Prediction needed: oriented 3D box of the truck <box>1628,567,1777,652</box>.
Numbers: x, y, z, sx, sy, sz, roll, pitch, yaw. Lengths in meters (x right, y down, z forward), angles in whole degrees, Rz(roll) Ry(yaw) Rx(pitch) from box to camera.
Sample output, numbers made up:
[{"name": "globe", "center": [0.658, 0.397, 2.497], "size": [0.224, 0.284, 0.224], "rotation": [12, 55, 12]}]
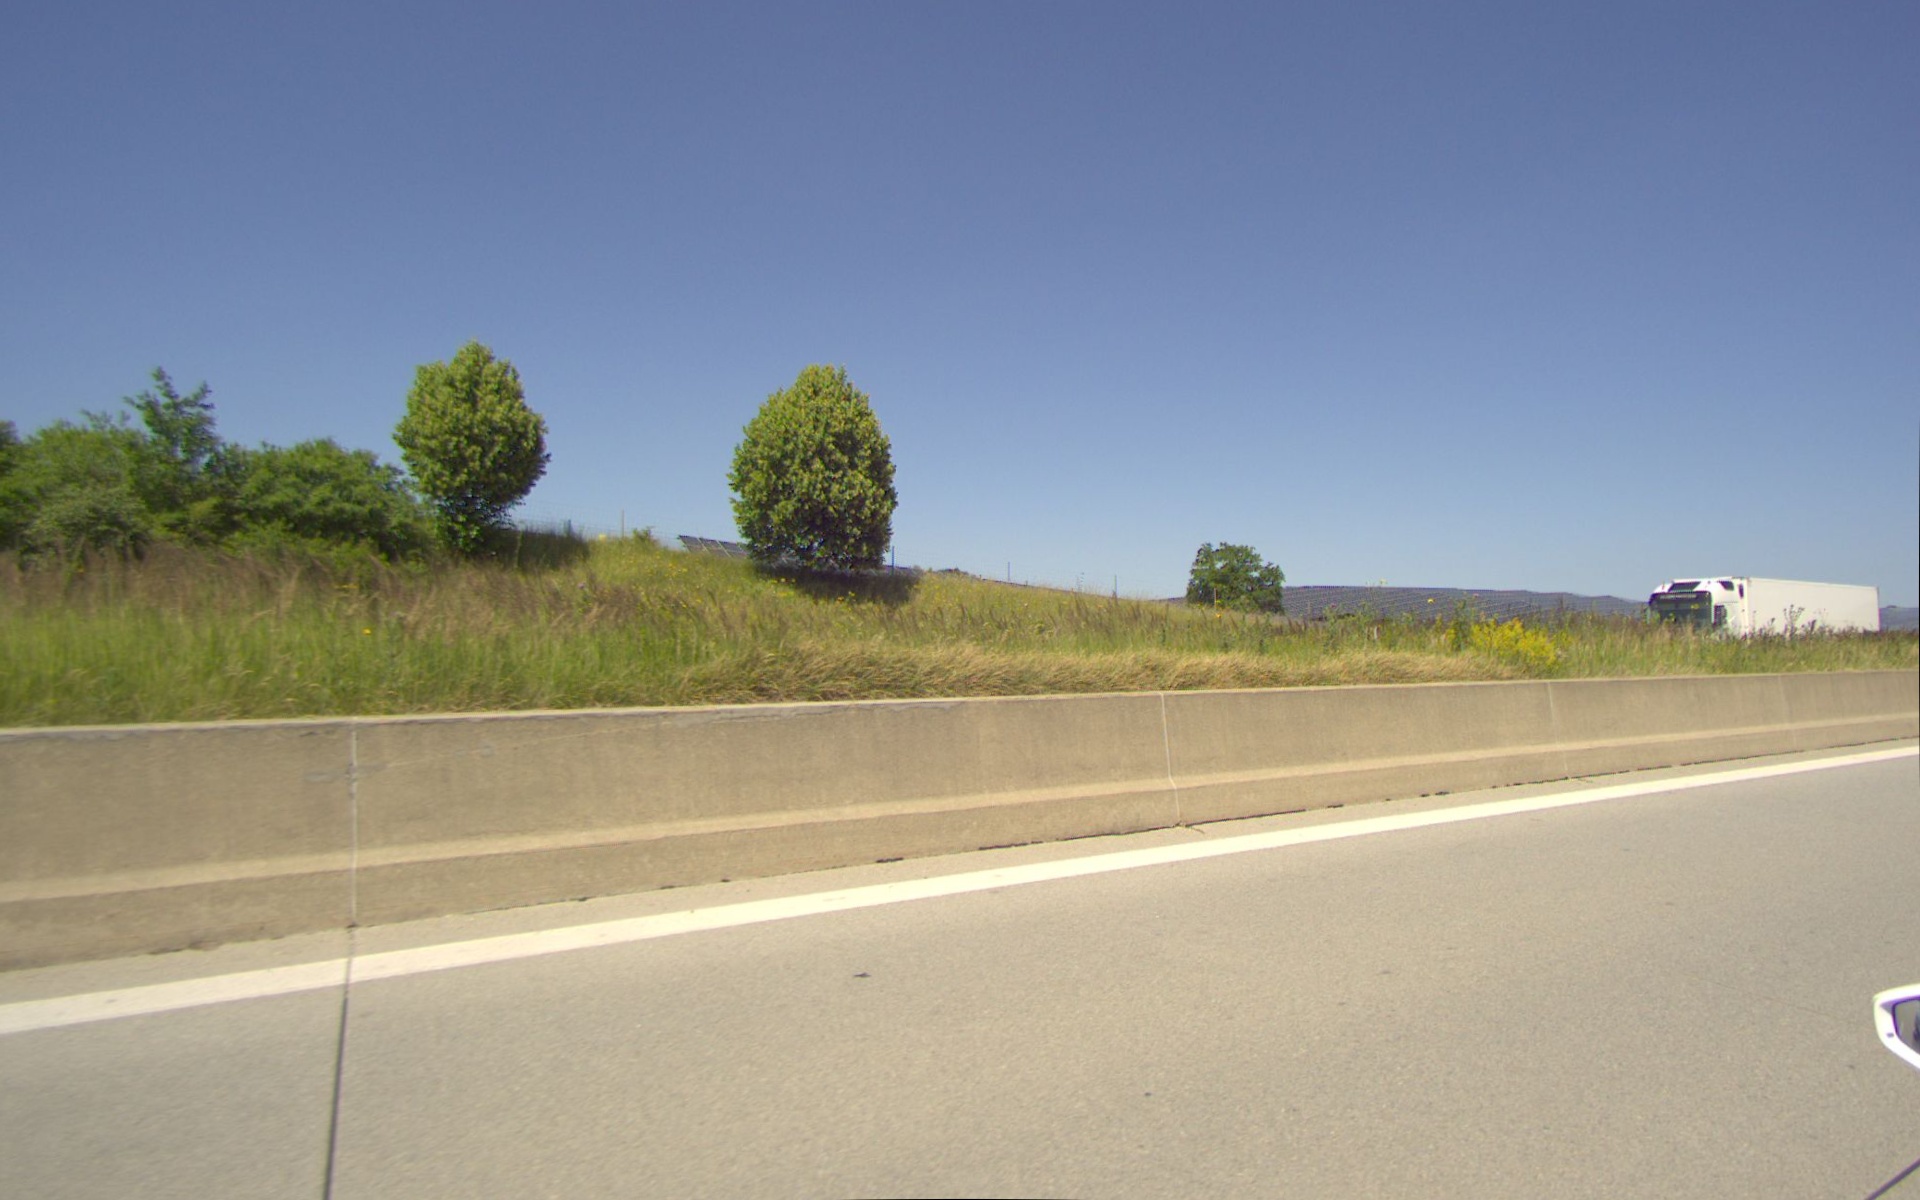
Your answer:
[{"name": "truck", "center": [30.096, 0.455, 40.687], "size": [5.758, 3.199, 2.819], "rotation": [2, -2, -30]}]

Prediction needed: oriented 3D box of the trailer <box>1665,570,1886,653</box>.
[{"name": "trailer", "center": [36.271, 0.658, 44.348], "size": [14.337, 3.225, 2.819], "rotation": [2, -2, -31]}]
